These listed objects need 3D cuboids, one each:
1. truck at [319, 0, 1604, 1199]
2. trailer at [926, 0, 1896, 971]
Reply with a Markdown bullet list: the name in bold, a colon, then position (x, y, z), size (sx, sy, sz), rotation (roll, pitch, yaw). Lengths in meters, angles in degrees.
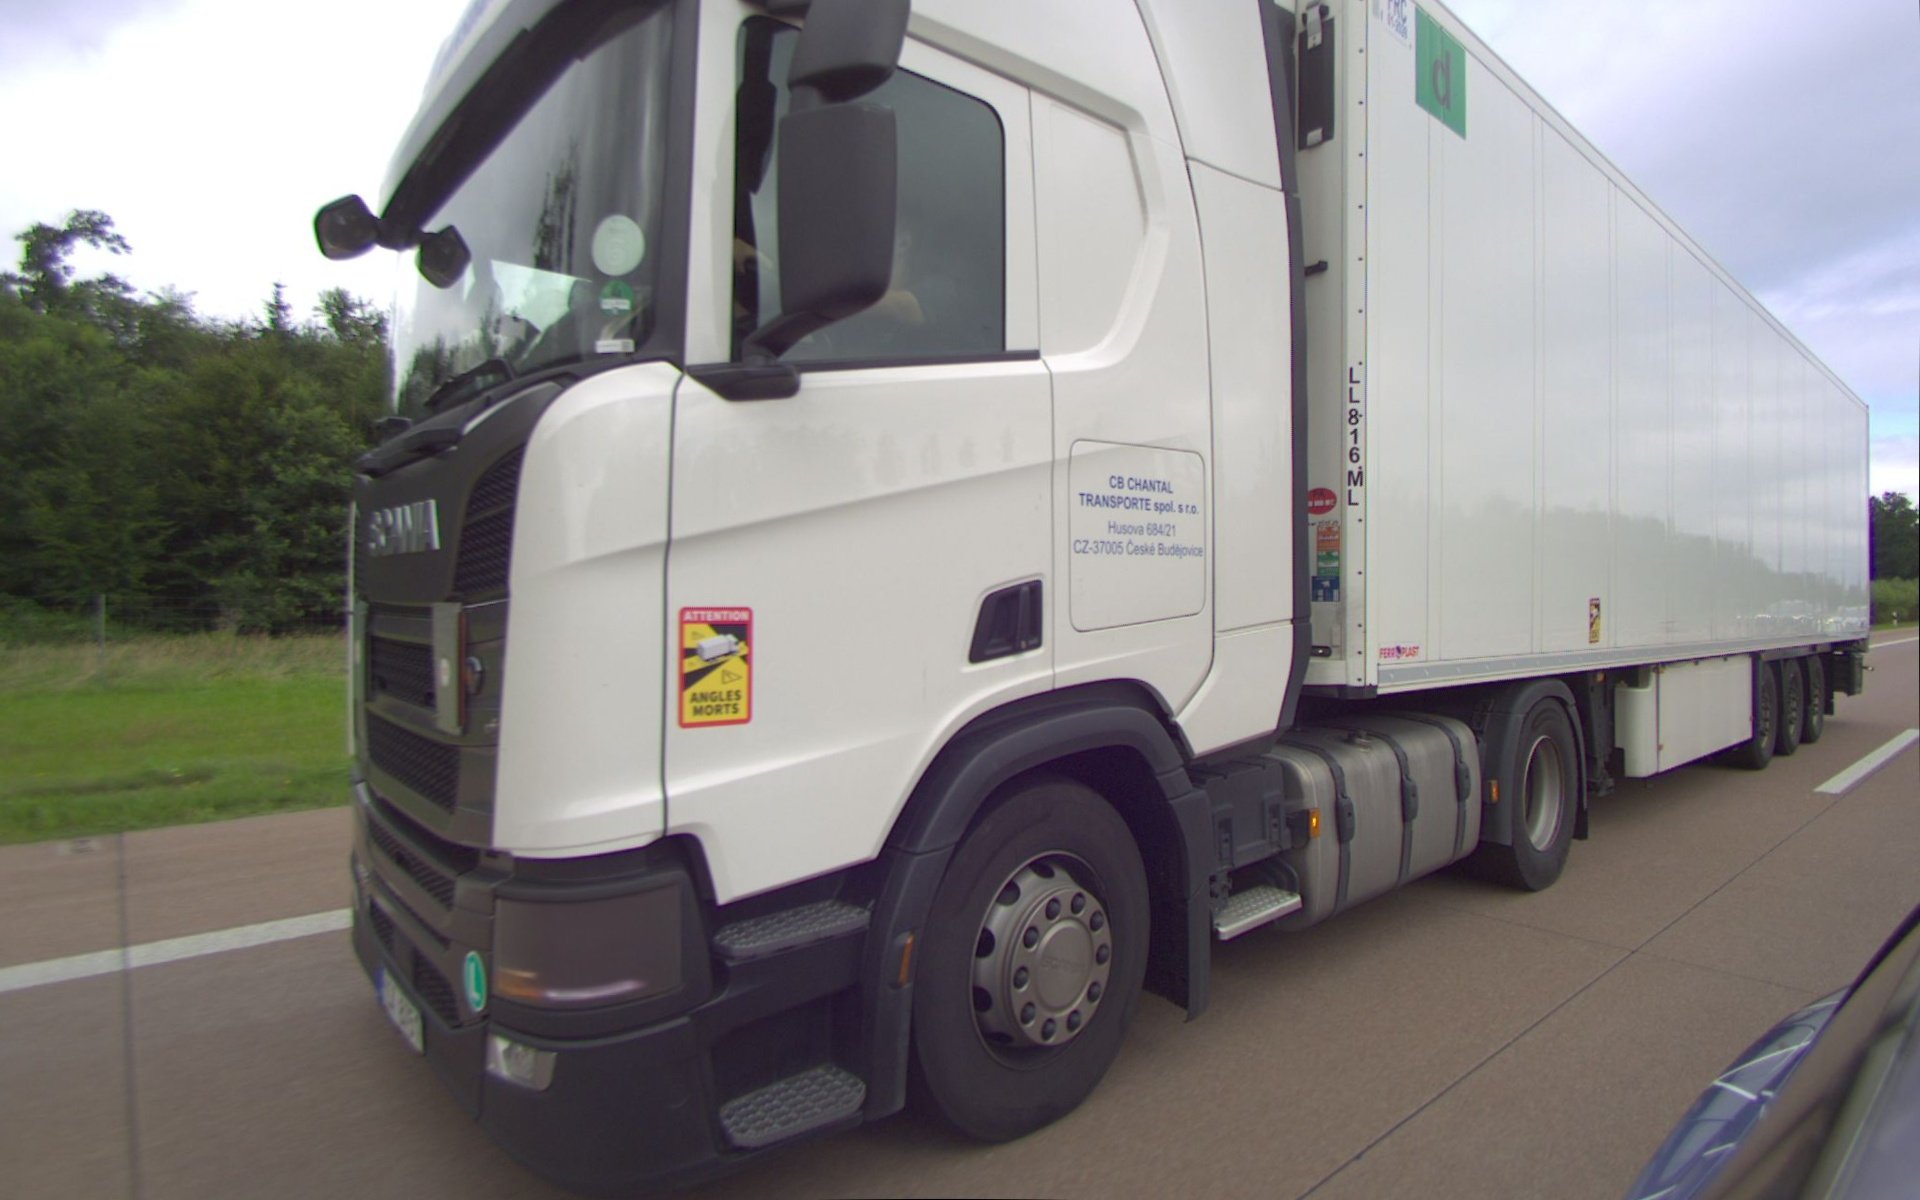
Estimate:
- **truck**: position (0.405, -0.815, 4.601), size (5.242, 4.348, 2.926), rotation (0, 0, -41)
- **trailer**: position (5.765, -0.813, 9.365), size (13.377, 4.348, 2.926), rotation (0, 0, -41)
